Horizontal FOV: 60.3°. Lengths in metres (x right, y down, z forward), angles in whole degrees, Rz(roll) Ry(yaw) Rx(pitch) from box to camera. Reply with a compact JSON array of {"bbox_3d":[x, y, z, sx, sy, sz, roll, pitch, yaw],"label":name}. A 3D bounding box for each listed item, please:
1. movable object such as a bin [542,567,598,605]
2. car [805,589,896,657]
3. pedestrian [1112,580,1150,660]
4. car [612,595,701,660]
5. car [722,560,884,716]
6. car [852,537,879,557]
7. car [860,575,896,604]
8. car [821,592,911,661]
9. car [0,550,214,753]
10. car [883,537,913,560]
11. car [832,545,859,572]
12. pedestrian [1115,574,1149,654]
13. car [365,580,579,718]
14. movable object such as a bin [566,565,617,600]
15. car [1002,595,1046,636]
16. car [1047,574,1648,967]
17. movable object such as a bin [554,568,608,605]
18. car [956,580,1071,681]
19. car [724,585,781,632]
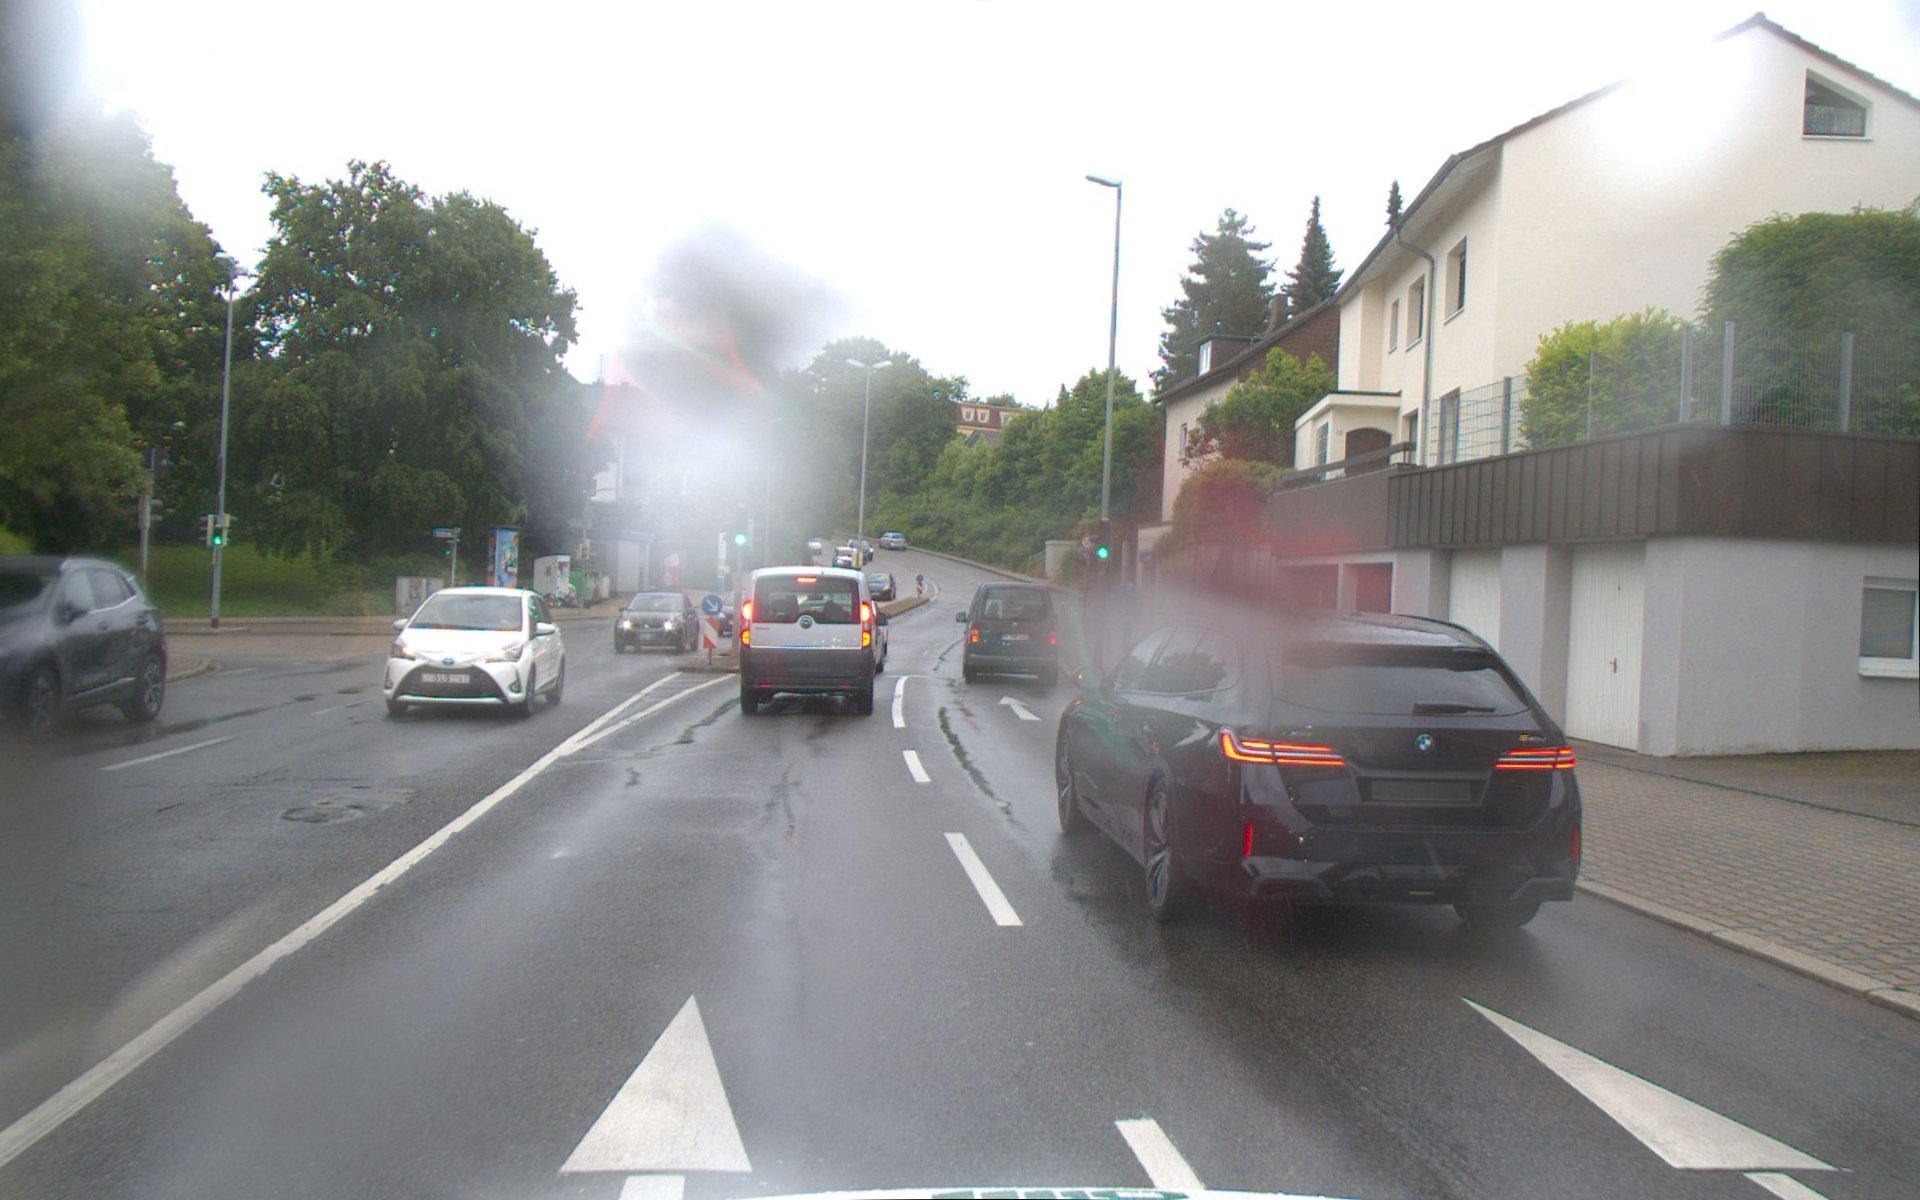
[{"bbox_3d":[-17.655,-0.646,74.900,2.014,1.596,1.583,1,2,6],"label":"movable object such as a bin"},{"bbox_3d":[-2.681,0.542,41.356,1.869,1.555,4.652,1,0,1],"label":"car"},{"bbox_3d":[3.914,0.449,37.838,0.777,1.811,1.011,0,0,1],"label":"pedestrian"},{"bbox_3d":[-7.572,0.659,41.530,1.678,1.529,3.997,1,0,-3],"label":"car"},{"bbox_3d":[-2.054,0.460,22.864,1.912,1.903,4.744,1,0,-2],"label":"car"},{"bbox_3d":[-8.134,-4.524,142.225,1.808,1.579,4.372,1,1,-11],"label":"car"},{"bbox_3d":[-4.702,-0.578,94.377,1.954,1.601,3.997,1,0,-3],"label":"car"},{"bbox_3d":[-2.159,0.588,39.002,1.797,1.513,4.059,1,0,1],"label":"car"},{"bbox_3d":[-9.016,0.426,16.041,1.769,1.698,4.593,1,0,-5],"label":"car"},{"bbox_3d":[-5.927,-4.914,157.149,1.961,2.049,3.983,1,0,-16],"label":"car"},{"bbox_3d":[-9.095,-3.261,131.631,1.954,2.049,3.998,1,0,-3],"label":"car"},{"bbox_3d":[4.487,0.368,43.152,0.780,2.049,0.734,2,0,1],"label":"pedestrian"},{"bbox_3d":[-6.018,0.553,20.844,1.797,1.557,3.996,1,0,-5],"label":"car"},{"bbox_3d":[-17.350,-0.824,77.961,2.014,1.541,1.345,1,2,6],"label":"movable object such as a bin"},{"bbox_3d":[3.008,0.698,78.061,1.814,1.690,4.000,2,2,-1],"label":"car"},{"bbox_3d":[1.824,0.846,9.479,1.955,1.614,4.657,3,-3,-5],"label":"car"},{"bbox_3d":[-17.515,-0.627,76.495,2.014,1.596,1.583,1,2,6],"label":"movable object such as a bin"},{"bbox_3d":[0.954,0.530,31.550,1.953,1.779,3.999,1,0,-1],"label":"car"},{"bbox_3d":[-6.984,0.260,55.897,1.817,1.489,3.995,2,0,-6],"label":"car"}]
